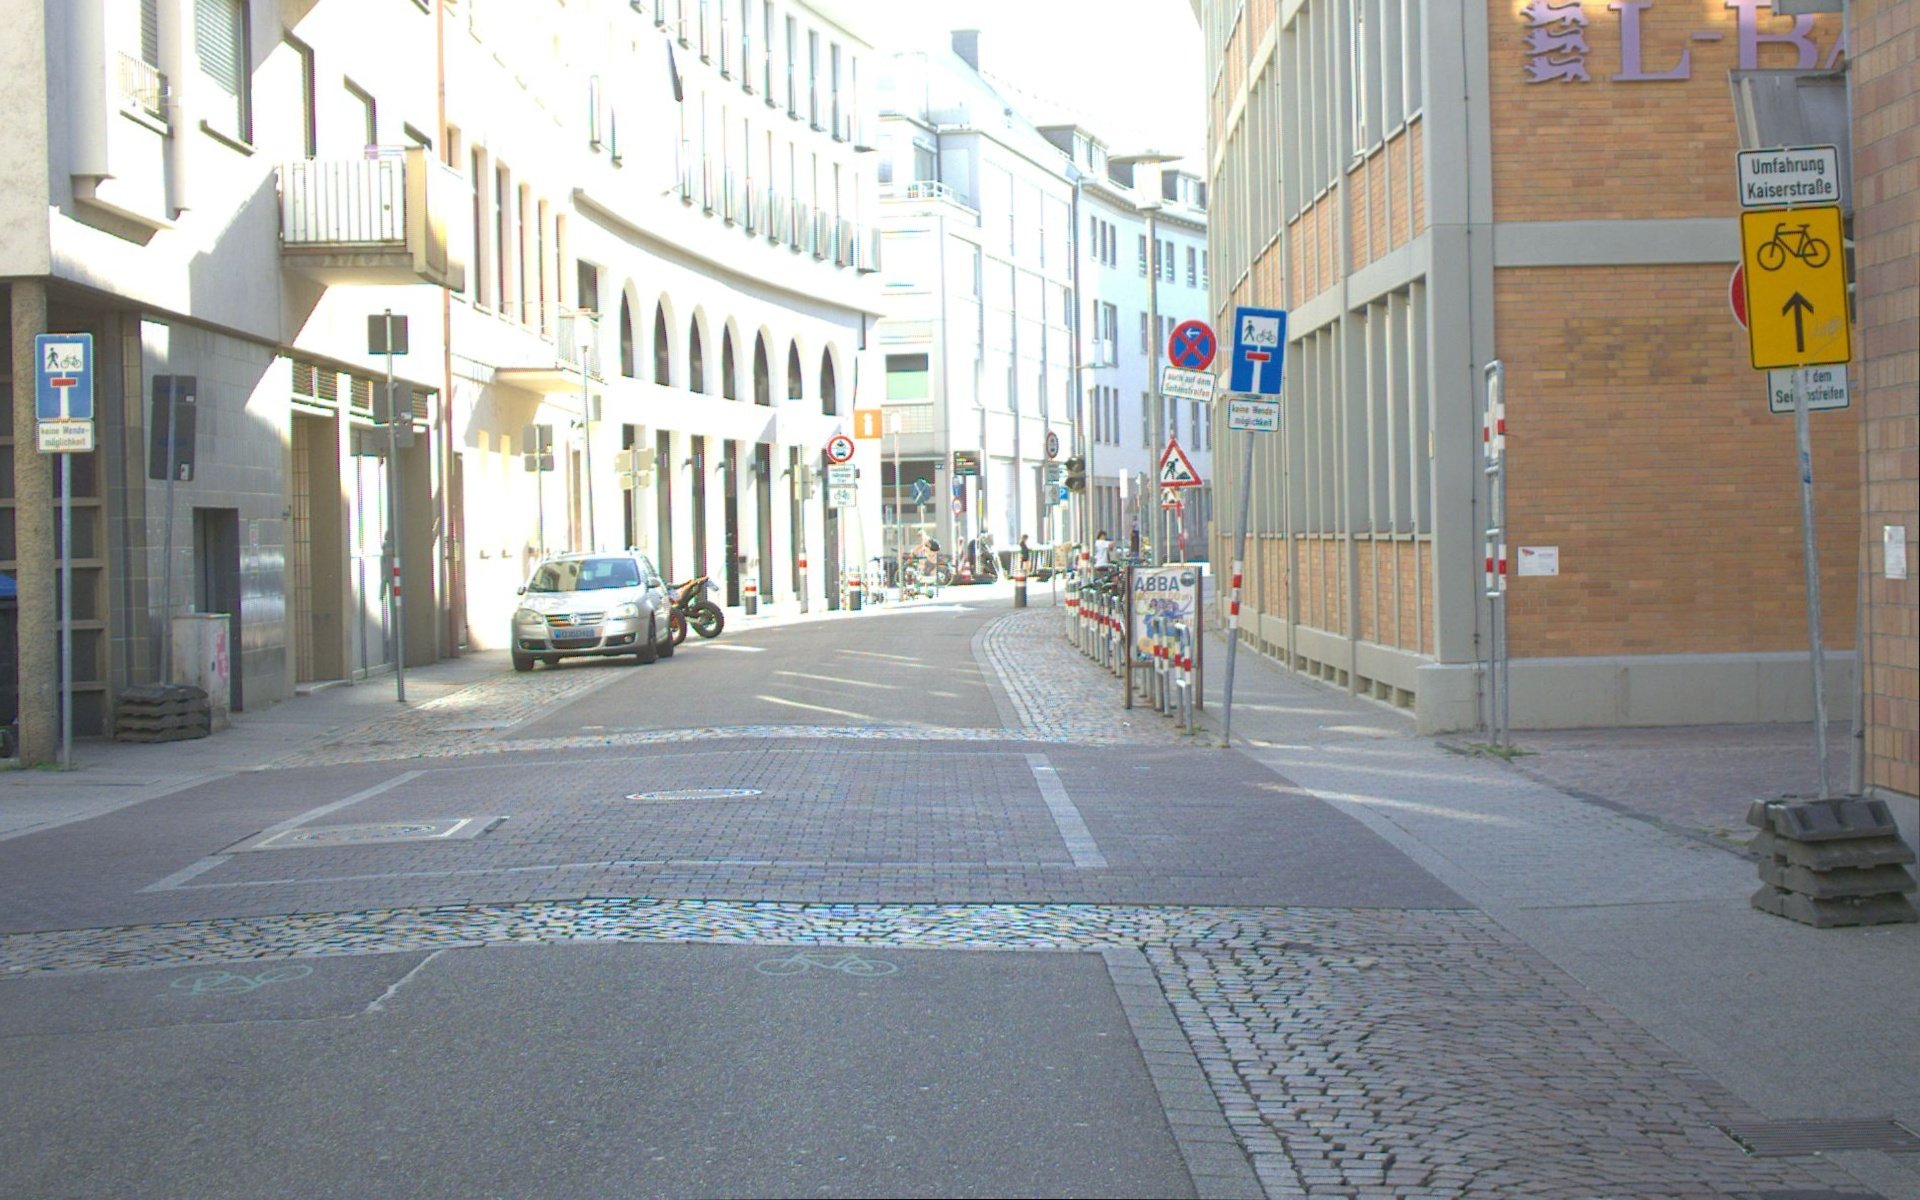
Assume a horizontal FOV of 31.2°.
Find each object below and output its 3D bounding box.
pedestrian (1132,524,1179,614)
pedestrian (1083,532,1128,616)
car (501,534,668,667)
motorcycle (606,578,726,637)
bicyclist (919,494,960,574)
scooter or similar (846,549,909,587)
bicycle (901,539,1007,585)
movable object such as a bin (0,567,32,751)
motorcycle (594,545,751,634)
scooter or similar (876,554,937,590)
[{"bbox_3d":[4.082,-0.655,71.799,0.659,1.862,0.761,1,0,-31],"label":"pedestrian"},{"bbox_3d":[3.267,-0.590,77.334,0.659,1.862,0.786,1,0,-31],"label":"pedestrian"},{"bbox_3d":[-4.721,-0.023,43.622,1.736,1.600,3.533,0,1,0],"label":"car"},{"bbox_3d":[-4.376,0.111,51.181,1.691,0.856,0.594,1,0,4],"label":"motorcycle"},{"bbox_3d":[-0.615,-1.998,104.252,1.091,2.381,0.741,1,0,13],"label":"bicyclist"},{"bbox_3d":[-2.084,-0.819,86.753,0.526,0.925,2.224,1,2,30],"label":"scooter or similar"},{"bbox_3d":[-0.182,-1.157,104.215,3.090,1.349,0.701,1,0,13],"label":"bicycle"},{"bbox_3d":[-7.839,0.445,26.602,0.884,1.415,0.932,1,0,43],"label":"movable object such as a bin"},{"bbox_3d":[-4.585,-0.172,54.965,2.390,1.312,0.862,-2,1,0],"label":"motorcycle"},{"bbox_3d":[-1.395,-0.737,90.195,0.526,0.925,2.224,1,2,30],"label":"scooter or similar"}]
